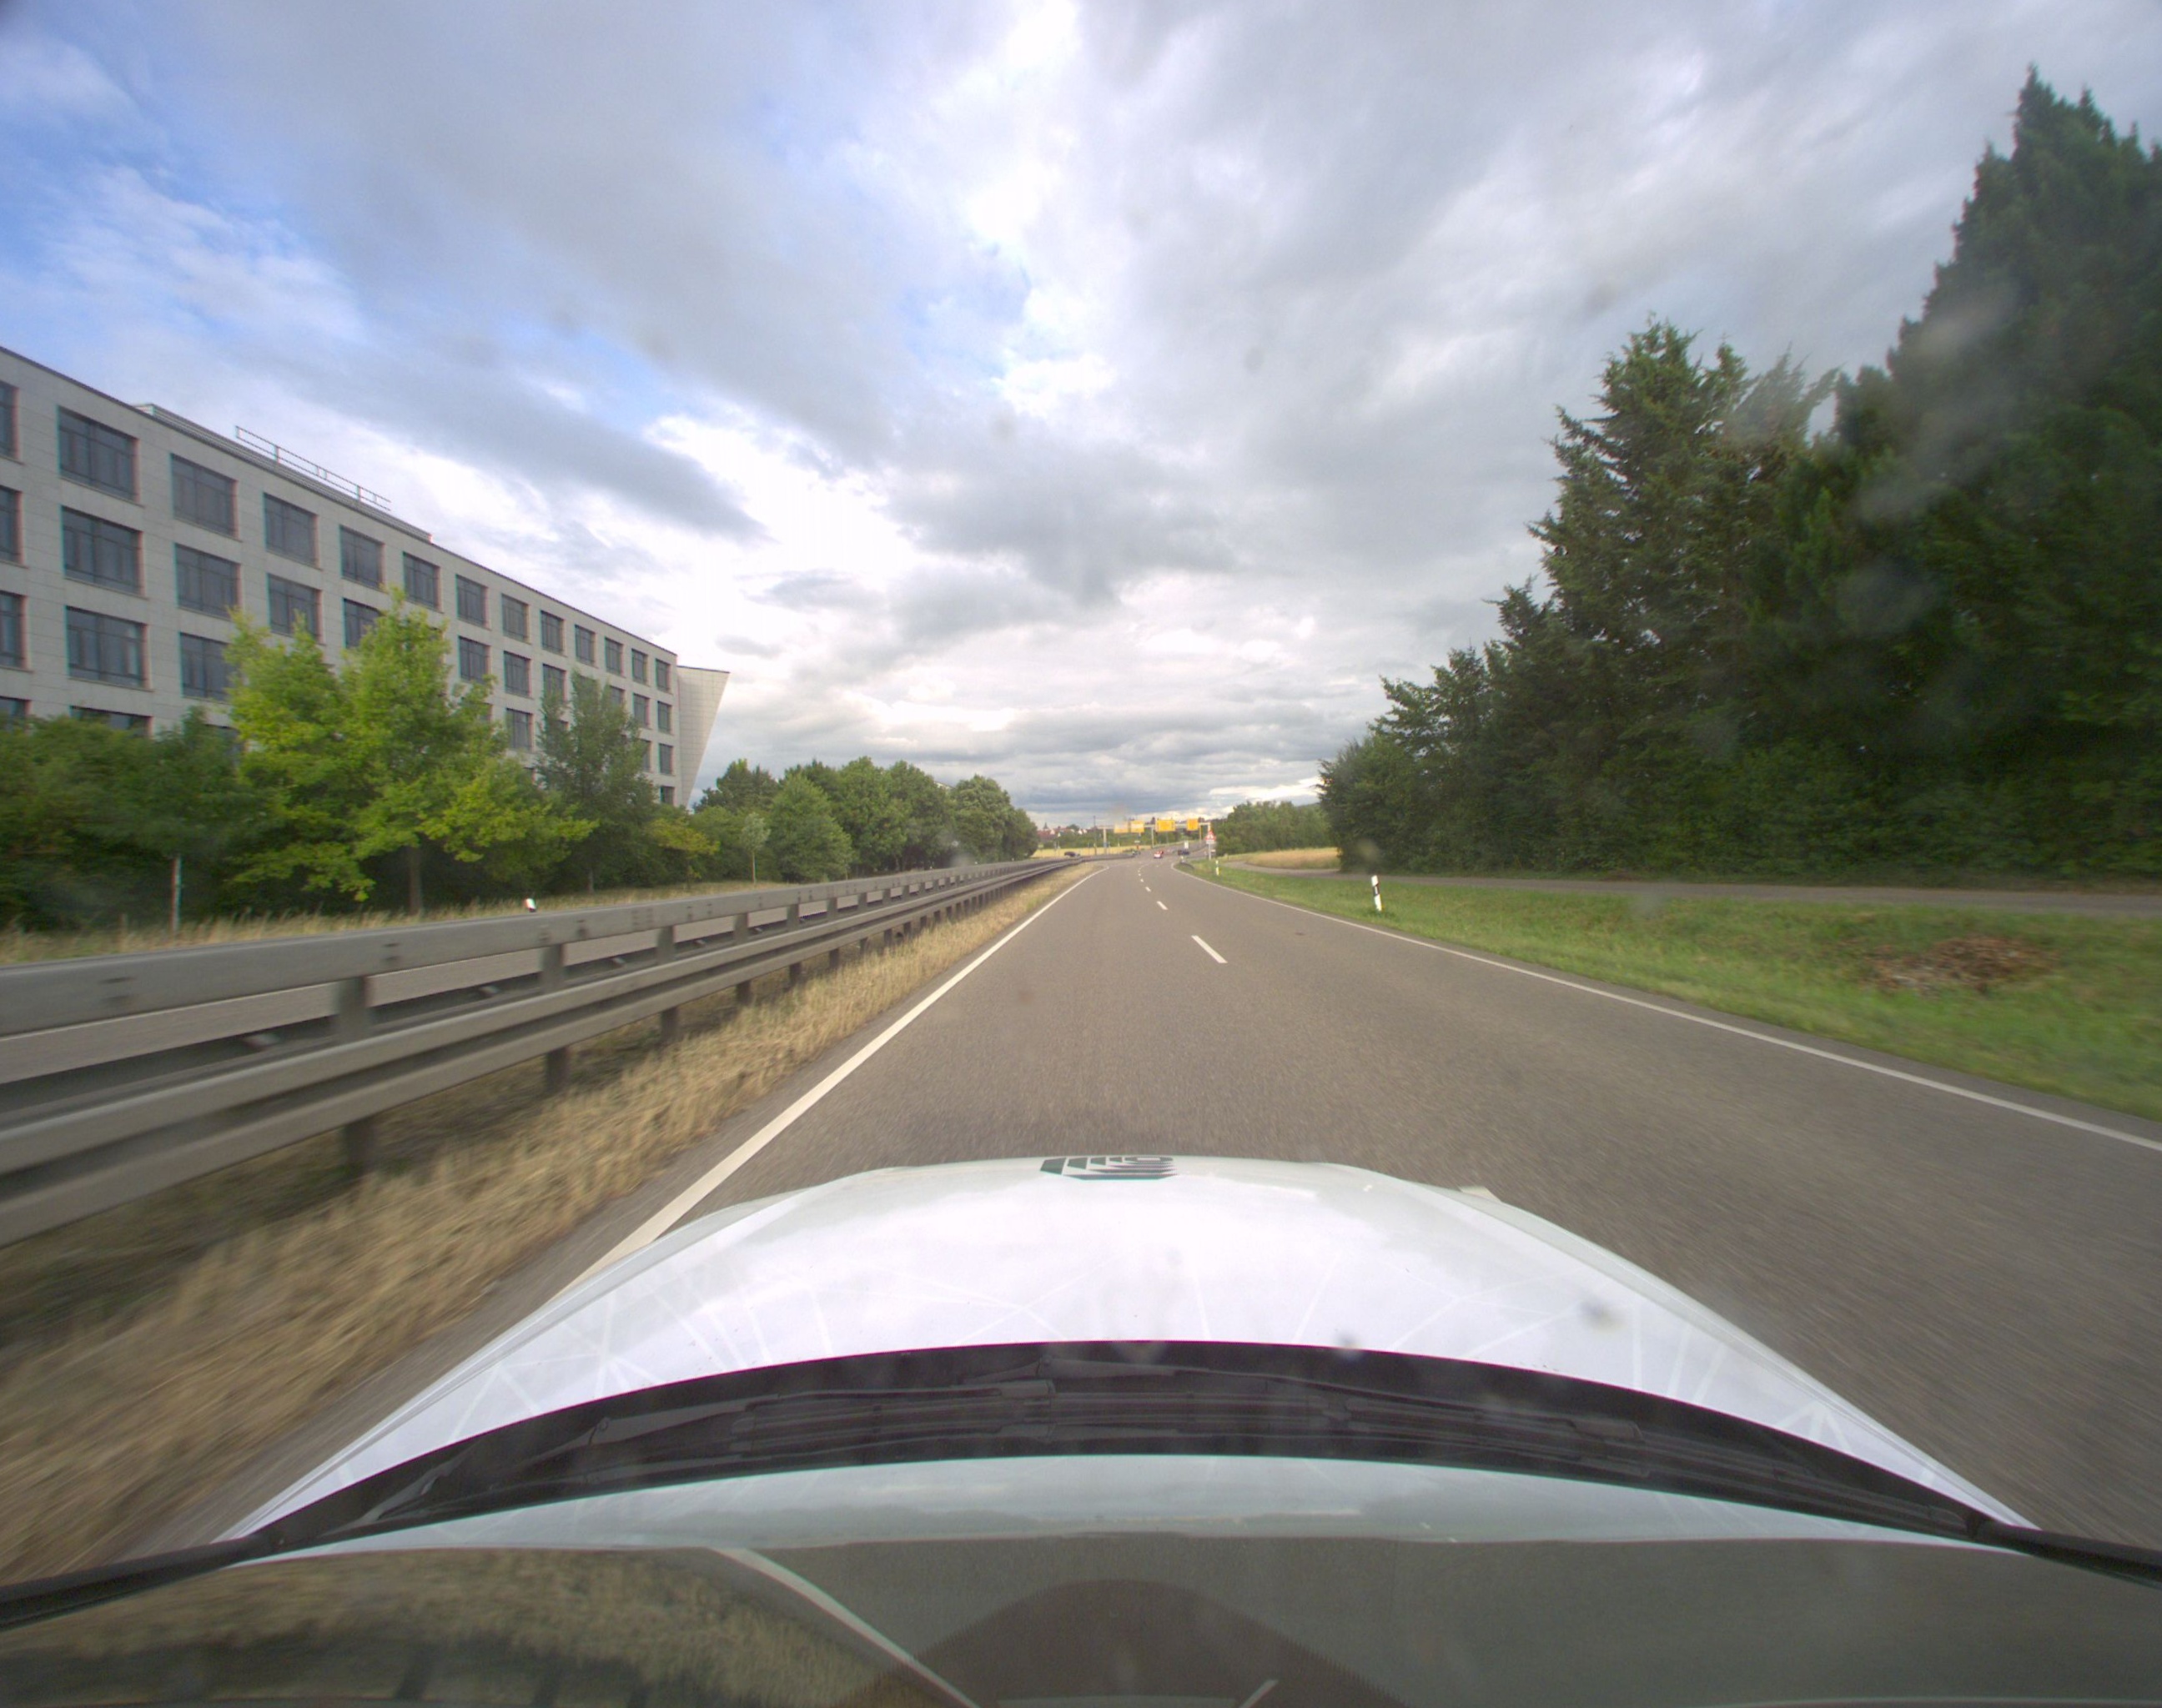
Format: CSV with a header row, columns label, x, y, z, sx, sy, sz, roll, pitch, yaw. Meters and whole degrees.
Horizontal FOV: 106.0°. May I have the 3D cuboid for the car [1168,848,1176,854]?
label,x,y,z,sx,sy,sz,roll,pitch,yaw
car,26.641,-0.875,238.615,1.784,1.556,4.016,-2,0,15

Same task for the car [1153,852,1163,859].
label,x,y,z,sx,sy,sz,roll,pitch,yaw
car,18.640,0.353,197.079,1.784,1.556,4.016,-2,0,15
